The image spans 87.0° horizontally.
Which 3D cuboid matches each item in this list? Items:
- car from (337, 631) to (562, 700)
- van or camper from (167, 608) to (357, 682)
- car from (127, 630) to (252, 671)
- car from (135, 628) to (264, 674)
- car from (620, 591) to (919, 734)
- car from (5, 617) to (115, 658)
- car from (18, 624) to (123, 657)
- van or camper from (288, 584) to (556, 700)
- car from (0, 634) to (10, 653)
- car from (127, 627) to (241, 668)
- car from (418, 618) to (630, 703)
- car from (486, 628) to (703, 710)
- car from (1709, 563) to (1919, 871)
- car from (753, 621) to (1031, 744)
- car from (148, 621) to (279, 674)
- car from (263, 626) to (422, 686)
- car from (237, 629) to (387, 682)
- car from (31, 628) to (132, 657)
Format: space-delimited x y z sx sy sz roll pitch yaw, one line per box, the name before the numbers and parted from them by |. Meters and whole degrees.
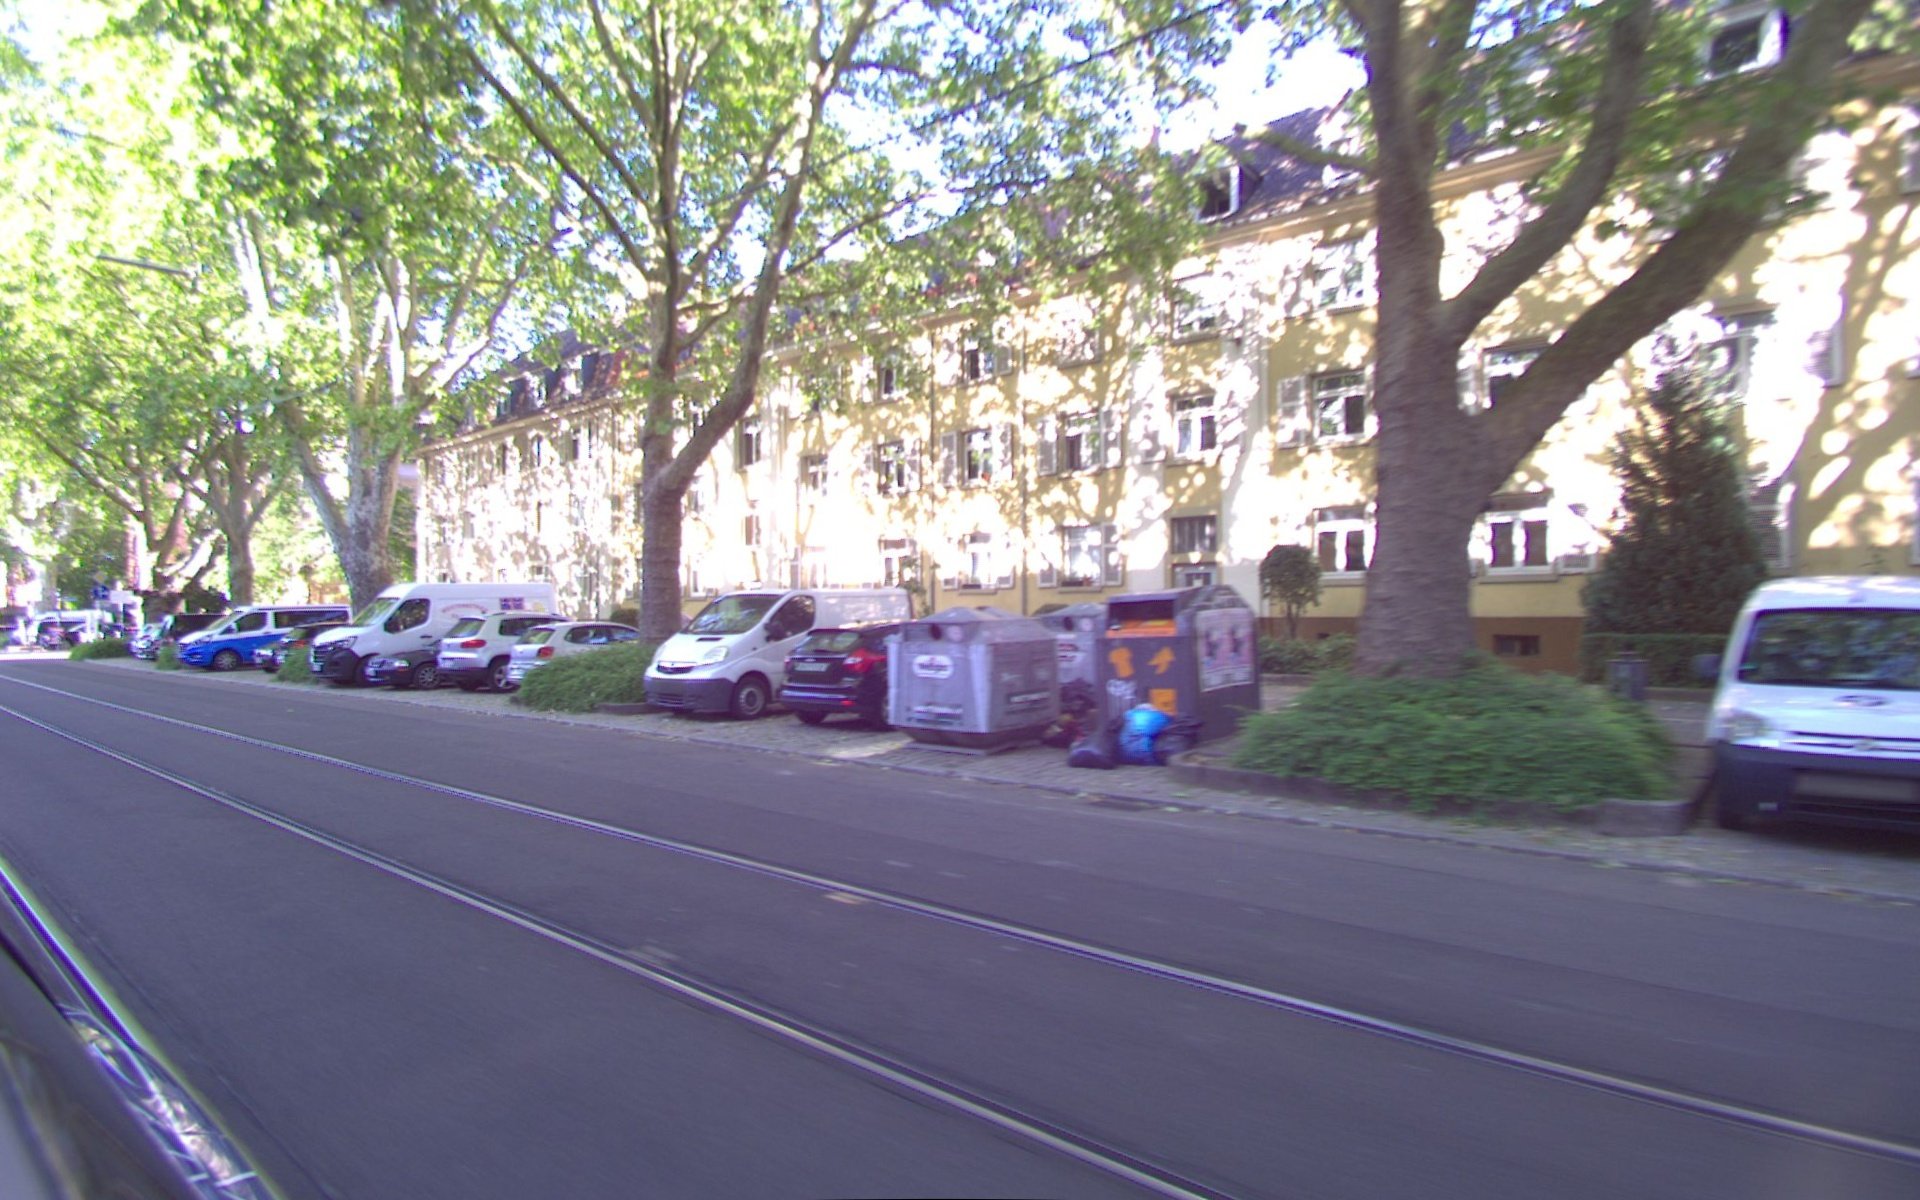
car | -11.505 1.425 23.030 1.752 1.409 4.219 -2 -2 41
van or camper | -22.763 1.405 33.174 2.117 2.206 4.771 -2 -1 40
car | -30.809 1.968 40.548 1.697 1.497 3.651 -2 -1 34
car | -29.278 1.923 39.041 1.796 1.636 3.649 -2 -1 36
car | -2.898 0.891 16.333 1.959 1.960 4.613 -2 -1 37
car | -56.710 2.326 63.836 2.026 2.416 4.956 -3 -2 39
car | -52.490 2.383 59.768 2.026 1.779 4.409 -3 -2 39
van or camper | -13.110 0.943 24.970 2.443 2.535 5.334 -2 -1 40
car | -79.856 3.587 82.042 1.809 1.527 3.917 -3 -2 39
car | -32.426 1.964 42.336 3.639 1.565 1.705 0 -1 -44
car | -9.410 1.251 22.049 1.861 1.675 3.807 -2 -2 41
car | -7.431 1.339 20.828 1.861 1.509 3.807 -2 -2 41
car | 6.735 0.681 7.495 1.738 1.771 4.158 -2 -1 38
car | -0.864 1.079 14.517 1.861 1.509 3.807 -2 -2 41
car | -27.560 1.704 37.443 1.703 1.828 3.644 -2 -1 40
car | -17.806 1.569 29.303 1.612 1.577 3.642 -2 -1 42
car | -19.725 1.653 30.921 1.692 1.471 3.500 -2 -1 34
car | -50.408 2.432 58.126 1.923 1.527 4.119 -3 -2 39
